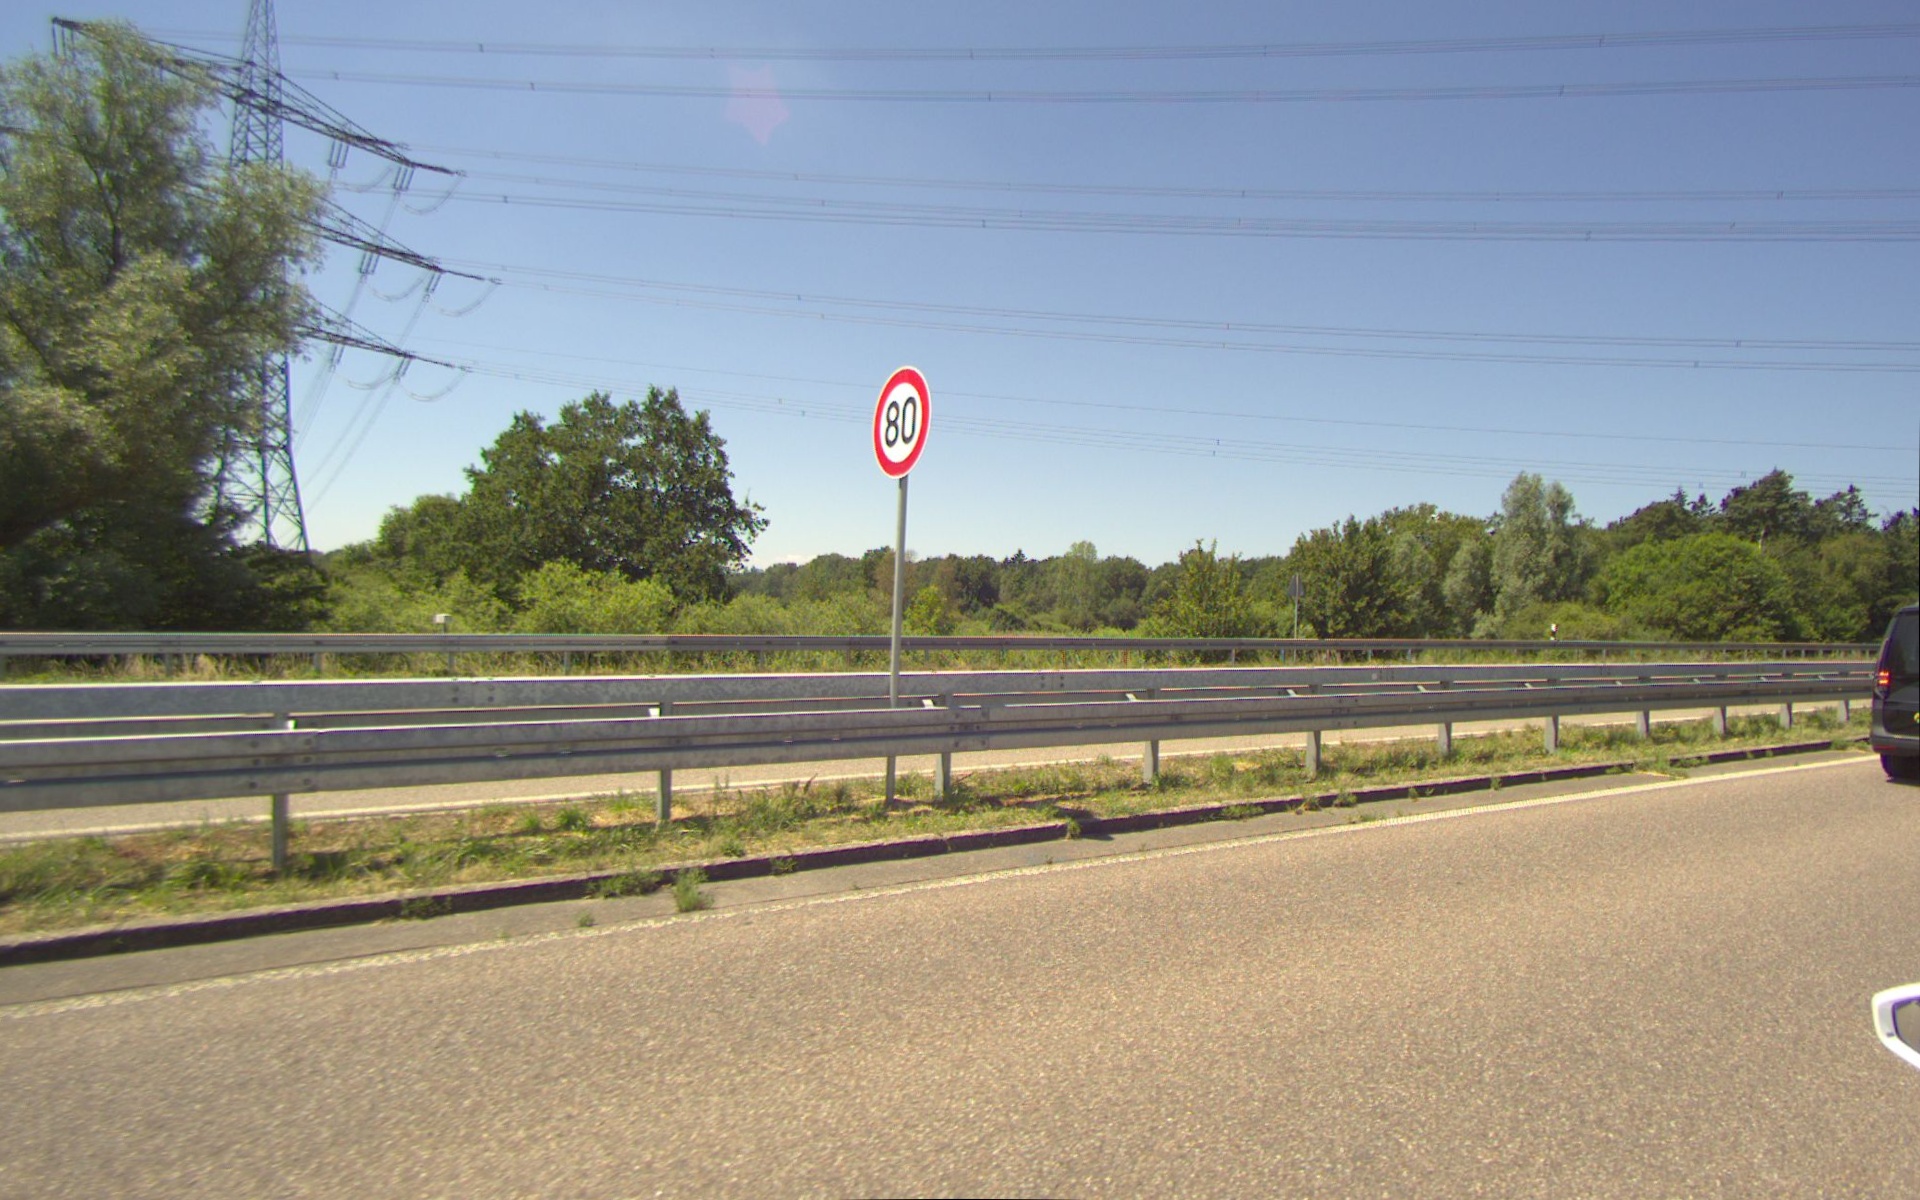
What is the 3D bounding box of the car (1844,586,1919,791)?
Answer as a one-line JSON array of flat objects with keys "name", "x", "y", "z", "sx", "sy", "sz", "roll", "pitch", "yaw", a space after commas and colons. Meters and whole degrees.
[{"name": "car", "x": 11.497, "y": 0.909, "z": 10.485, "sx": 5.510, "sy": 1.912, "sz": 1.845, "roll": 2, "pitch": -1, "yaw": -31}]
